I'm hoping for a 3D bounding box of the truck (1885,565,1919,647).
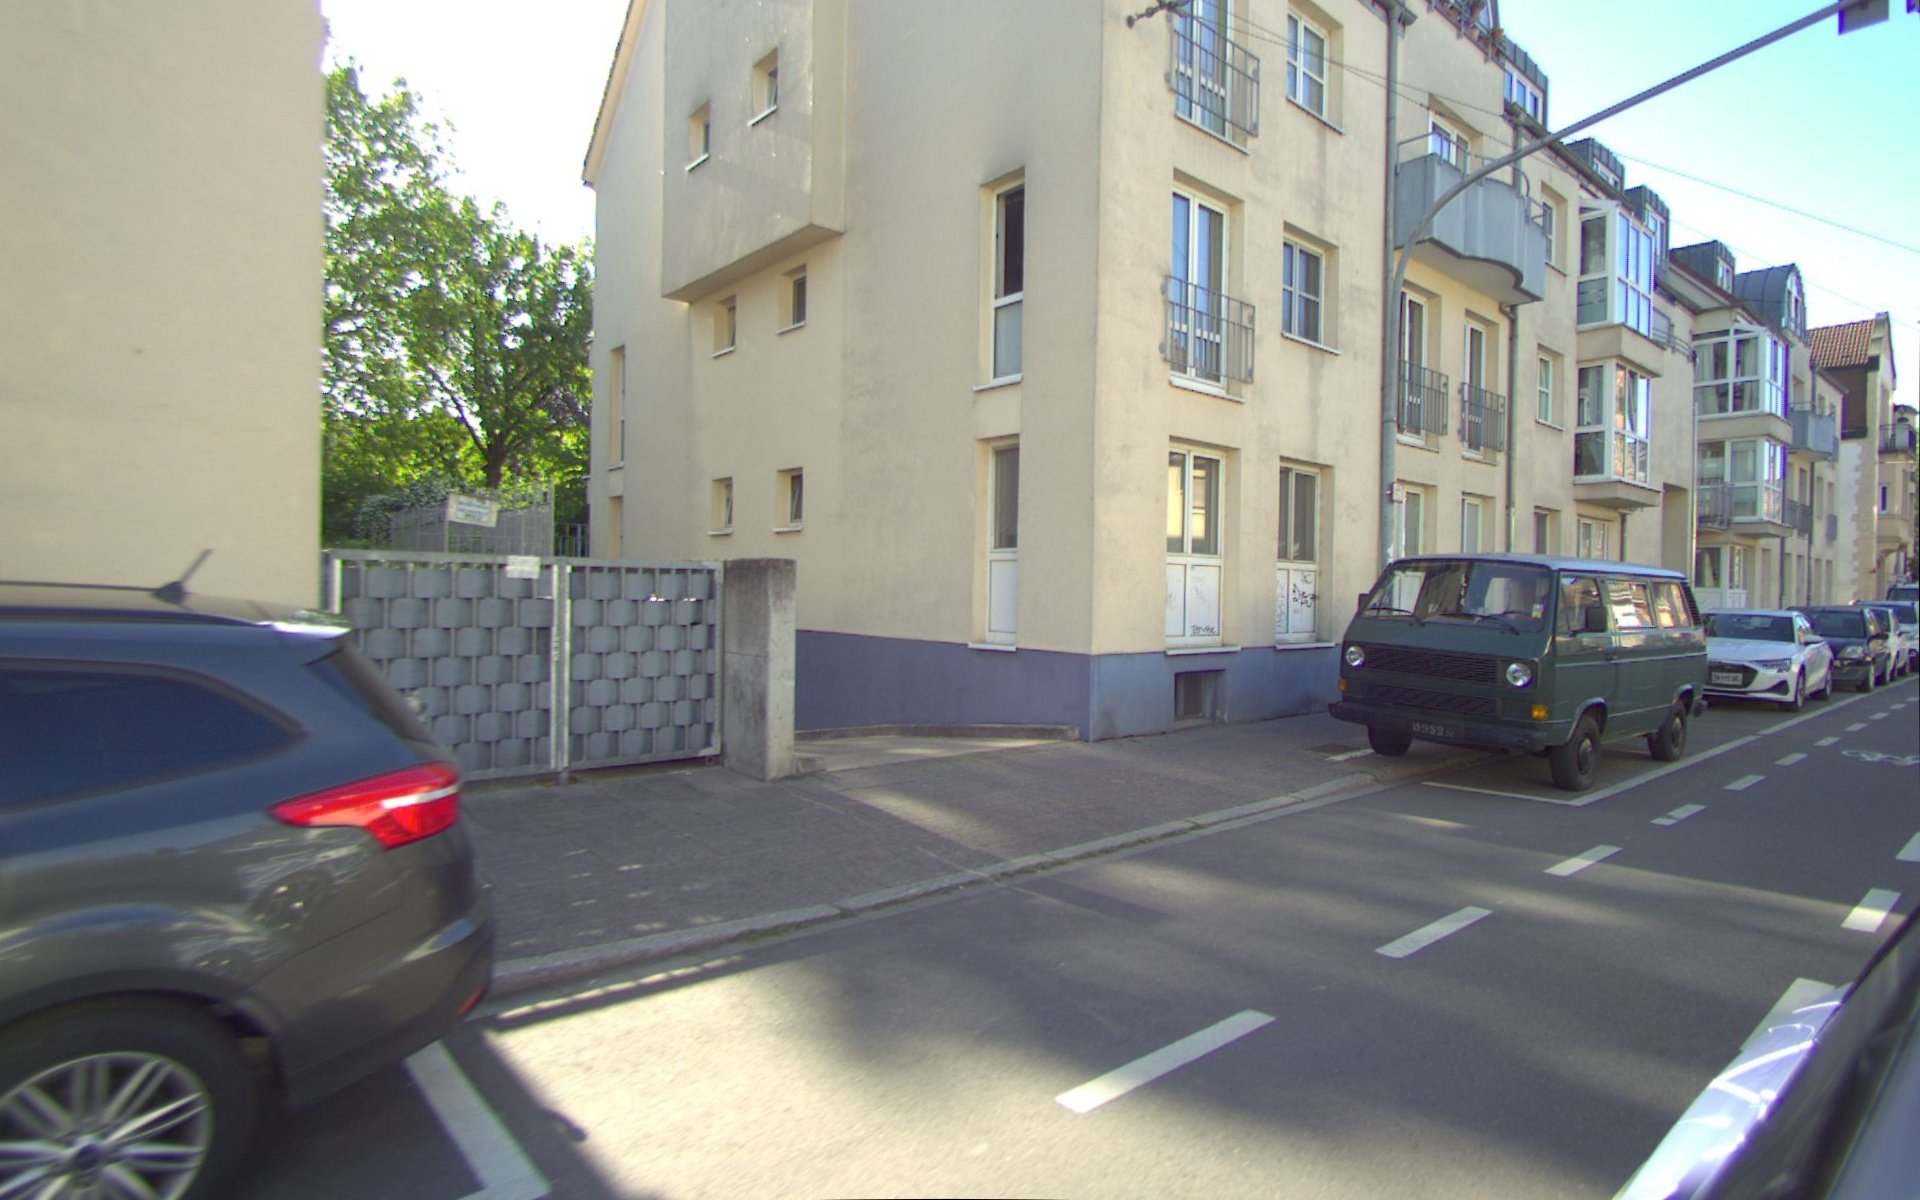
[{"bbox_3d":[31.822,0.200,32.576,6.038,2.508,2.300,0,1,-41],"label":"truck"}]

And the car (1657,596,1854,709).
[{"bbox_3d":[12.305,0.711,15.561,4.100,1.510,1.679,0,-1,-42],"label":"car"}]

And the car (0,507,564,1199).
[{"bbox_3d":[-3.281,0.626,1.974,4.358,1.619,1.746,0,-1,-43],"label":"car"}]

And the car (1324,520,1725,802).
[{"bbox_3d":[5.426,0.443,9.457,4.484,2.012,1.908,0,-1,-42],"label":"car"}]

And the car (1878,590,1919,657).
[{"bbox_3d":[27.177,0.632,28.275,4.181,1.769,1.742,0,-1,-41],"label":"car"}]

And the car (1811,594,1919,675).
[{"bbox_3d":[19.295,0.683,21.424,3.307,1.577,1.498,0,-1,-42],"label":"car"}]

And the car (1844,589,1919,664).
[{"bbox_3d":[23.059,0.607,24.754,3.919,1.721,1.605,0,-1,-41],"label":"car"}]

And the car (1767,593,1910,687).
[{"bbox_3d":[16.340,0.674,18.769,3.589,1.577,1.556,0,-1,-42],"label":"car"}]
